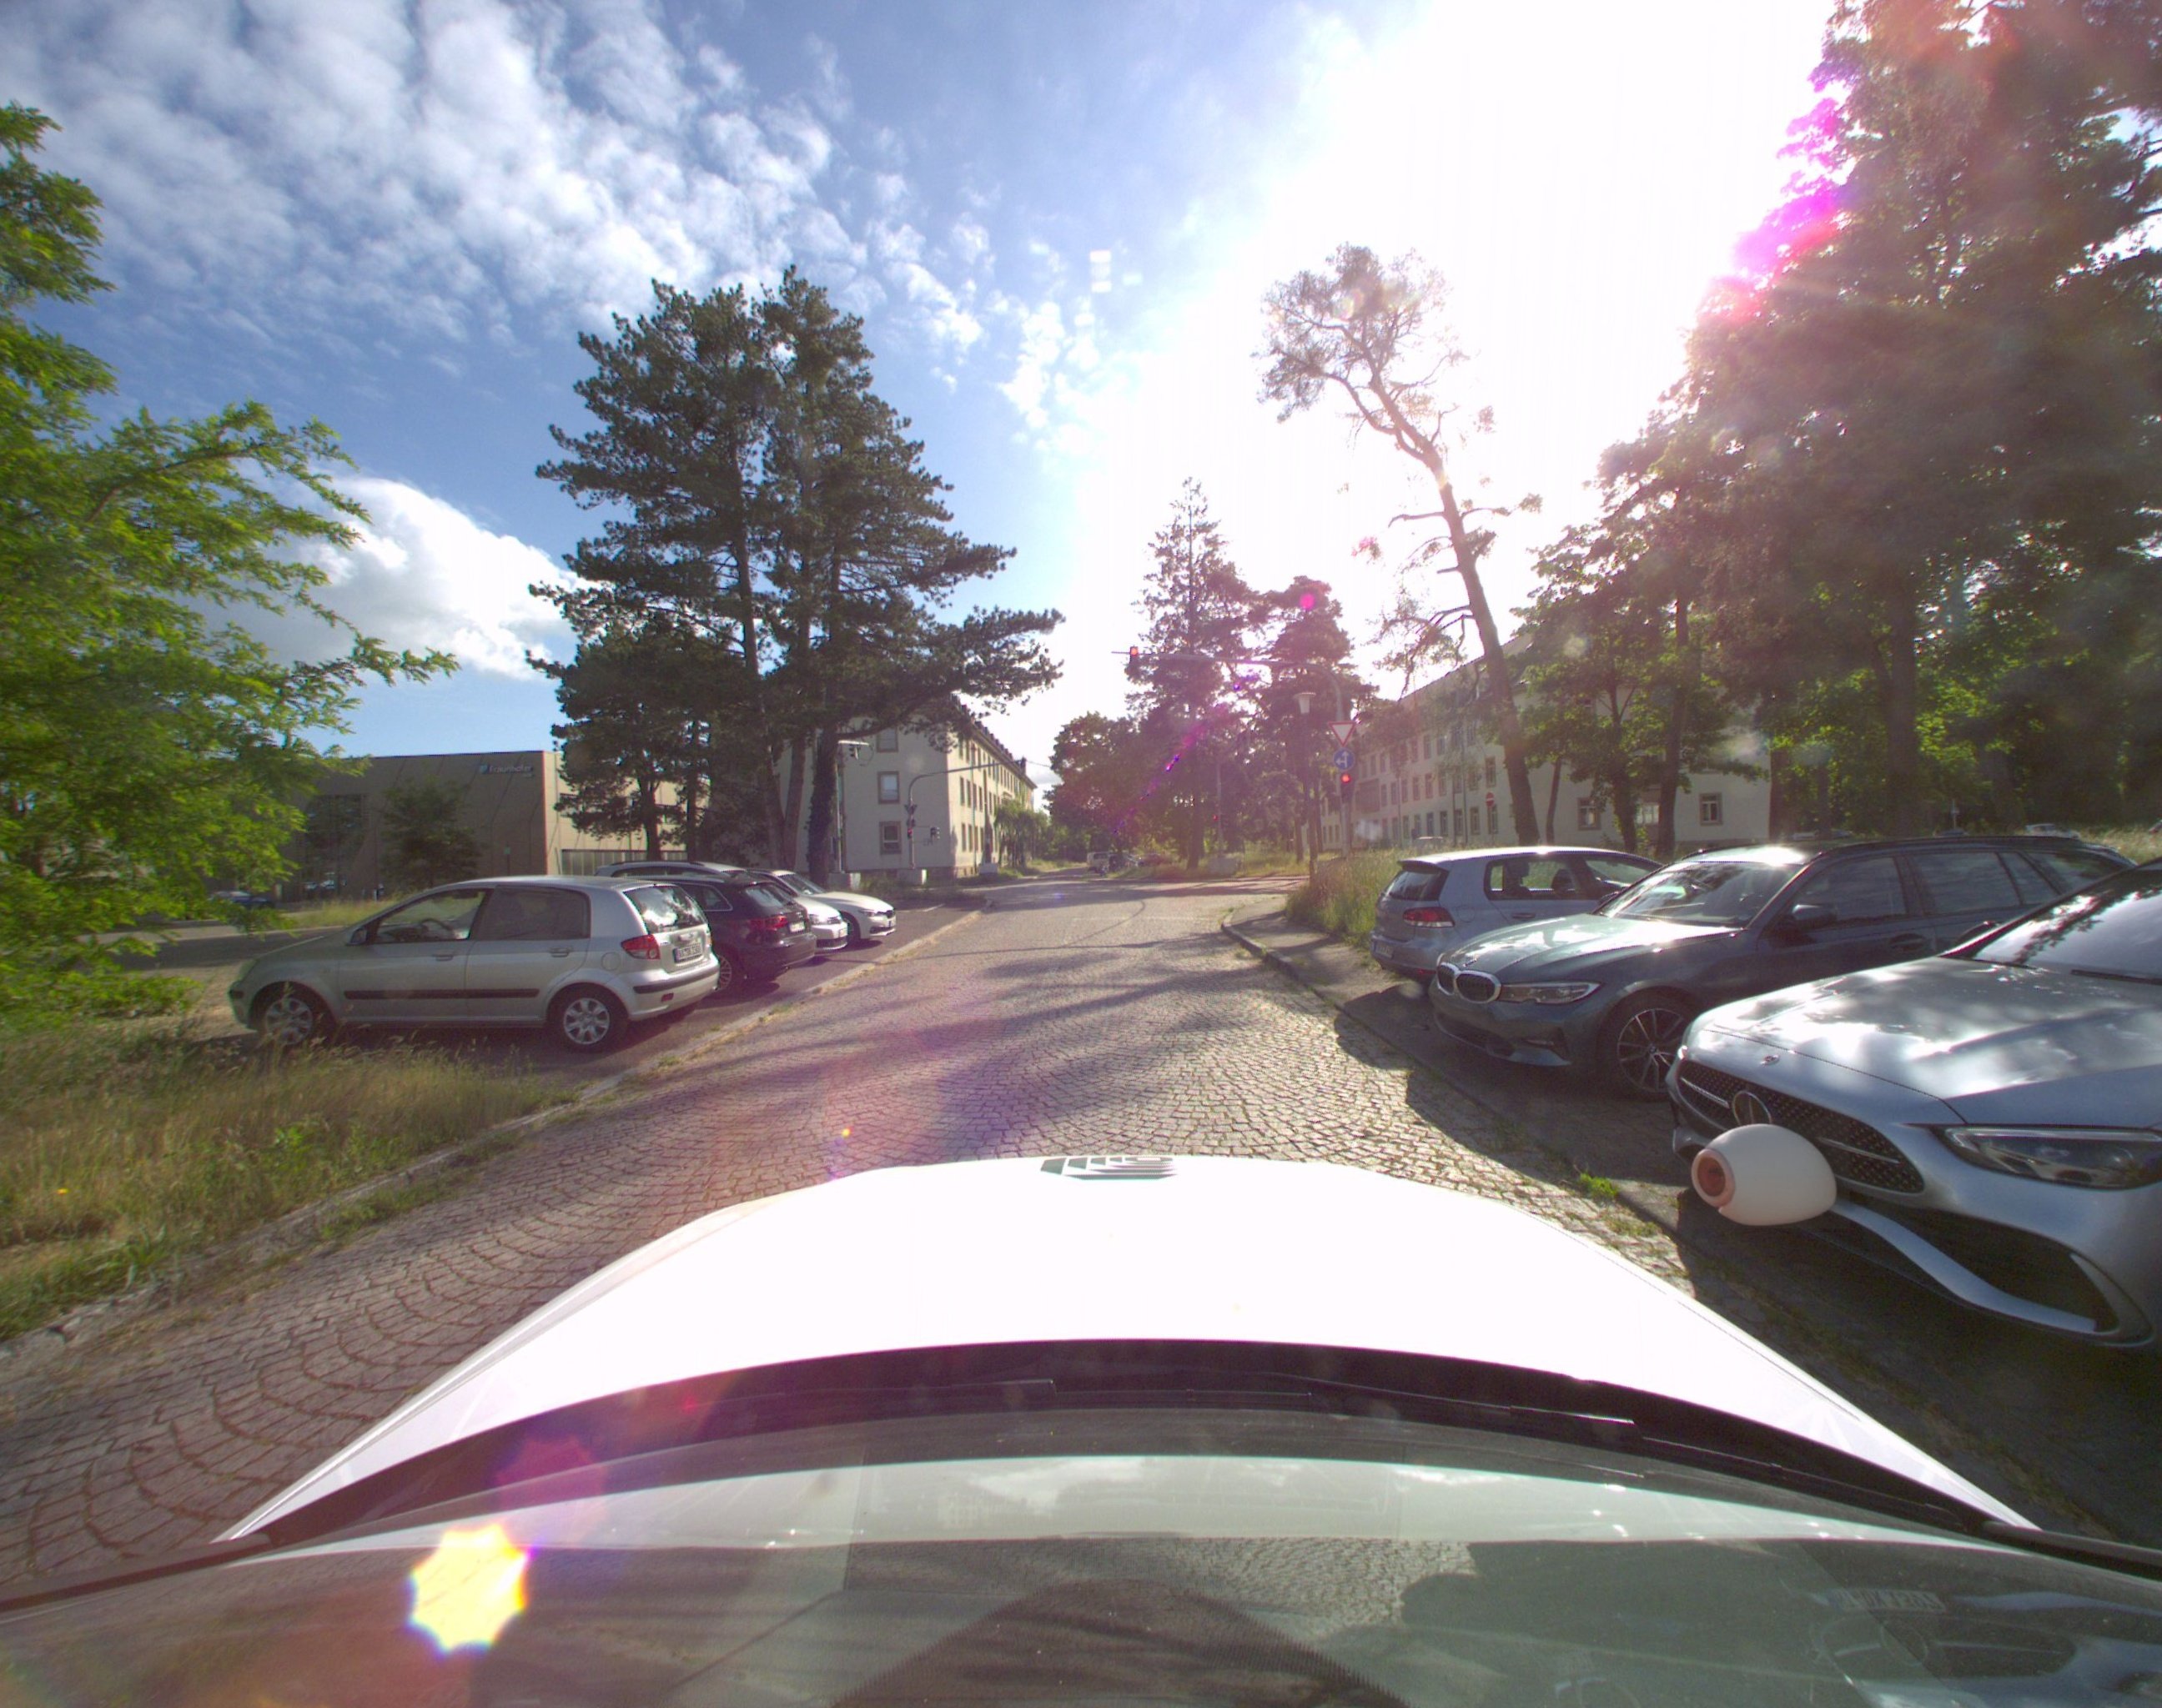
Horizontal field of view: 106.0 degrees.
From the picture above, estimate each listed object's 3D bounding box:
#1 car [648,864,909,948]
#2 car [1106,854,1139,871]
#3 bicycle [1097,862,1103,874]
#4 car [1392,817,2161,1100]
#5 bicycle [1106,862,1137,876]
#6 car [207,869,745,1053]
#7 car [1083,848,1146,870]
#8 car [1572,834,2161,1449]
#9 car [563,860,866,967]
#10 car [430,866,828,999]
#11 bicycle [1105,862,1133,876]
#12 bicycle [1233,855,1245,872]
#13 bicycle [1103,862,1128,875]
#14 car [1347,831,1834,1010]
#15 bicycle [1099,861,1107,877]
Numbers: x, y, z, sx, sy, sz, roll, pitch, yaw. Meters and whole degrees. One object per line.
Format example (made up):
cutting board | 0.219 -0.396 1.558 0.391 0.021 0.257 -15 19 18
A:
car | -5.666 0.953 15.678 4.321 1.468 1.829 0 0 -2
car | 3.627 0.720 71.786 2.775 1.467 1.669 0 -1 -3
bicycle | 1.567 1.168 66.999 0.415 1.010 1.484 0 -1 2
car | 4.746 0.611 5.599 4.542 1.415 1.637 -4 0 2
bicycle | 2.864 1.039 57.314 2.106 1.010 0.619 0 -1 -6
car | -5.359 0.900 7.612 3.736 1.487 1.645 0 0 -2
car | 3.094 0.458 75.316 5.534 2.014 1.989 0 -1 -17
car | 4.517 0.652 2.886 4.415 1.415 1.782 -4 0 2
car | -5.808 0.906 13.321 4.069 1.593 1.884 0 0 -2
car | -5.466 0.915 10.269 3.976 1.480 1.802 0 0 -2
bicycle | 2.750 1.060 59.030 2.002 1.010 0.630 0 -1 -6
bicycle | 8.722 0.533 45.094 0.300 0.961 1.585 0 -1 -2
bicycle | 2.552 1.081 60.791 1.835 1.010 0.634 0 -1 -6
car | 4.931 0.610 8.300 3.867 1.415 1.637 -4 0 2
bicycle | 1.461 0.999 53.760 0.466 1.010 1.585 0 -1 -2
